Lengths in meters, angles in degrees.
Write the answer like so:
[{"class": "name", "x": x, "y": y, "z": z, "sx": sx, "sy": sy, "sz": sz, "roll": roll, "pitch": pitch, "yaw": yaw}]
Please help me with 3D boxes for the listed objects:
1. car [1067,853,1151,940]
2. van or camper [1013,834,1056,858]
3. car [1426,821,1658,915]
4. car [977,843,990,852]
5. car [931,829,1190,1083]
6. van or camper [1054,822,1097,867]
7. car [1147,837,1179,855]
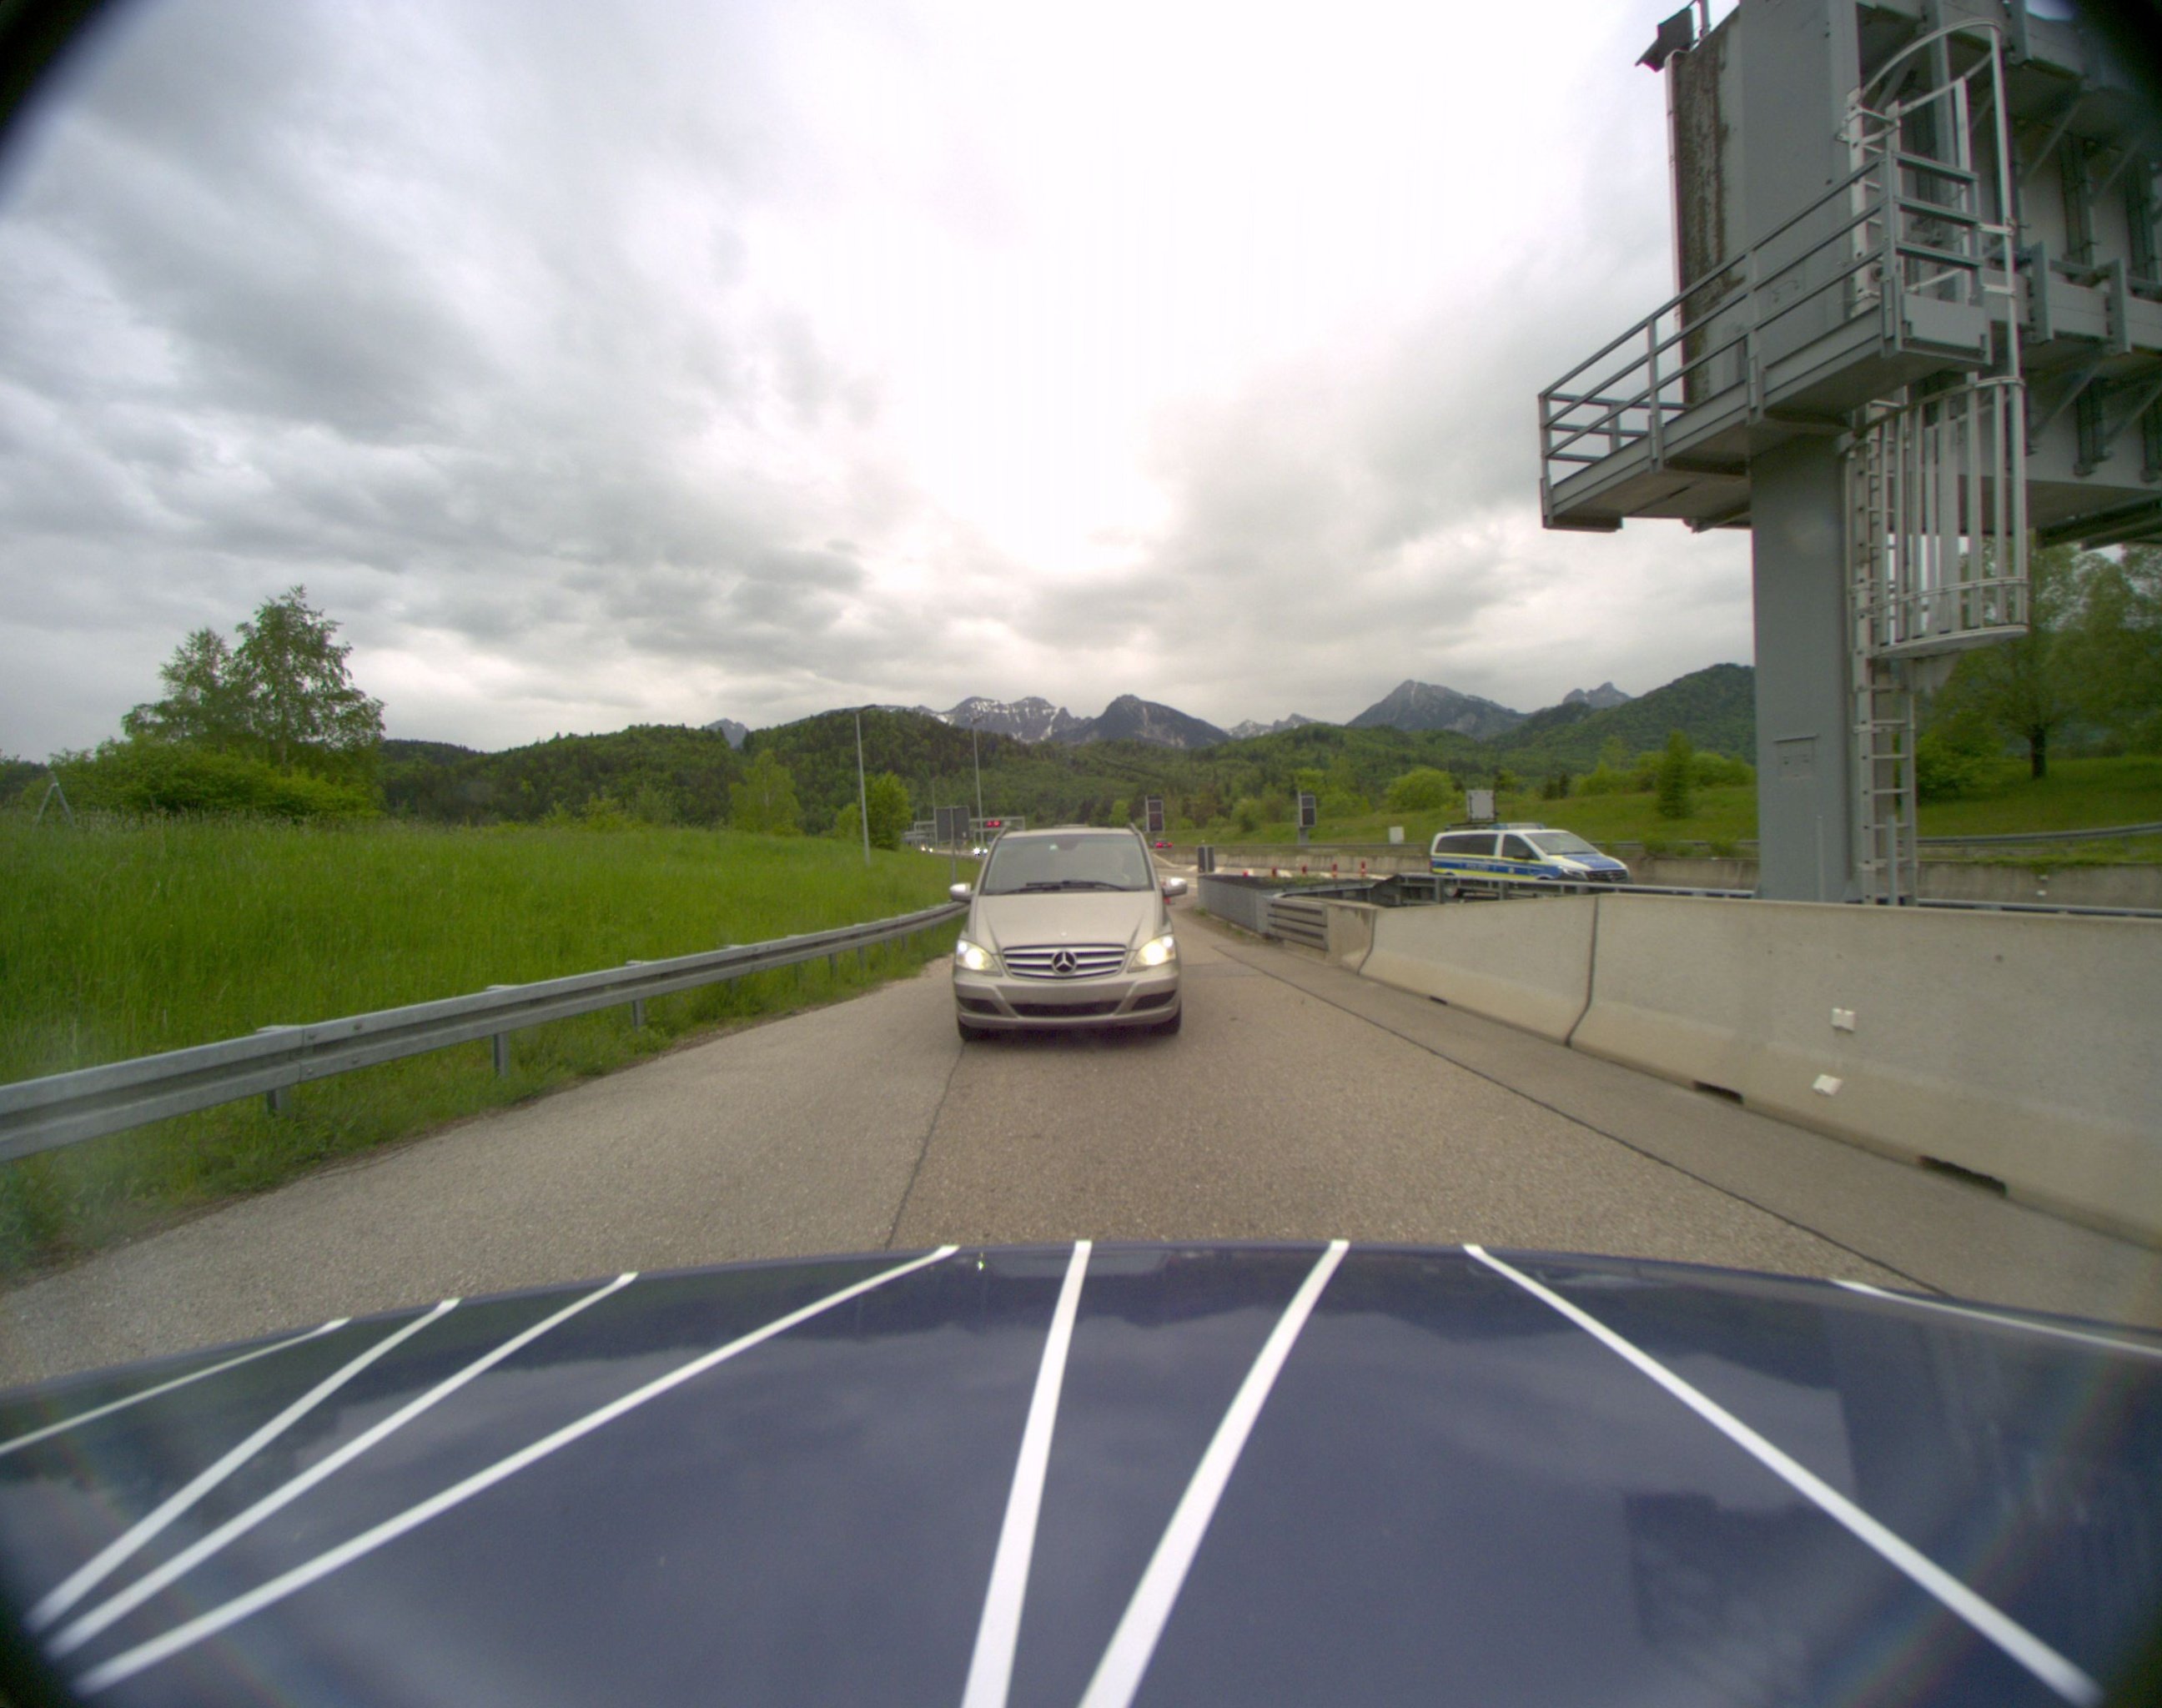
[{"class": "car", "x": 0.593, "y": 0.840, "z": 16.869, "sx": 1.591, "sy": 1.662, "sz": 4.000, "roll": -1, "pitch": 0, "yaw": 1}, {"class": "van or camper", "x": -5.485, "y": -0.954, "z": 88.038, "sx": 3.345, "sy": 2.629, "sz": 8.189, "roll": -1, "pitch": 1, "yaw": -15}, {"class": "car", "x": 11.318, "y": 0.275, "z": 19.208, "sx": 2.106, "sy": 2.002, "sz": 5.045, "roll": -2, "pitch": 1, "yaw": -13}, {"class": "car", "x": -17.105, "y": -1.157, "z": 133.080, "sx": 1.722, "sy": 1.629, "sz": 4.343, "roll": -1, "pitch": 1, "yaw": -13}, {"class": "car", "x": -0.115, "y": 0.710, "z": 8.370, "sx": 1.862, "sy": 1.833, "sz": 5.616, "roll": -1, "pitch": 1, "yaw": 1}, {"class": "van or camper", "x": -0.528, "y": -0.795, "z": 61.583, "sx": 2.584, "sy": 3.372, "sz": 7.349, "roll": -2, "pitch": 1, "yaw": -7}, {"class": "car", "x": 9.319, "y": -0.889, "z": 86.773, "sx": 1.992, "sy": 1.944, "sz": 5.102, "roll": -1, "pitch": 1, "yaw": -15}]
